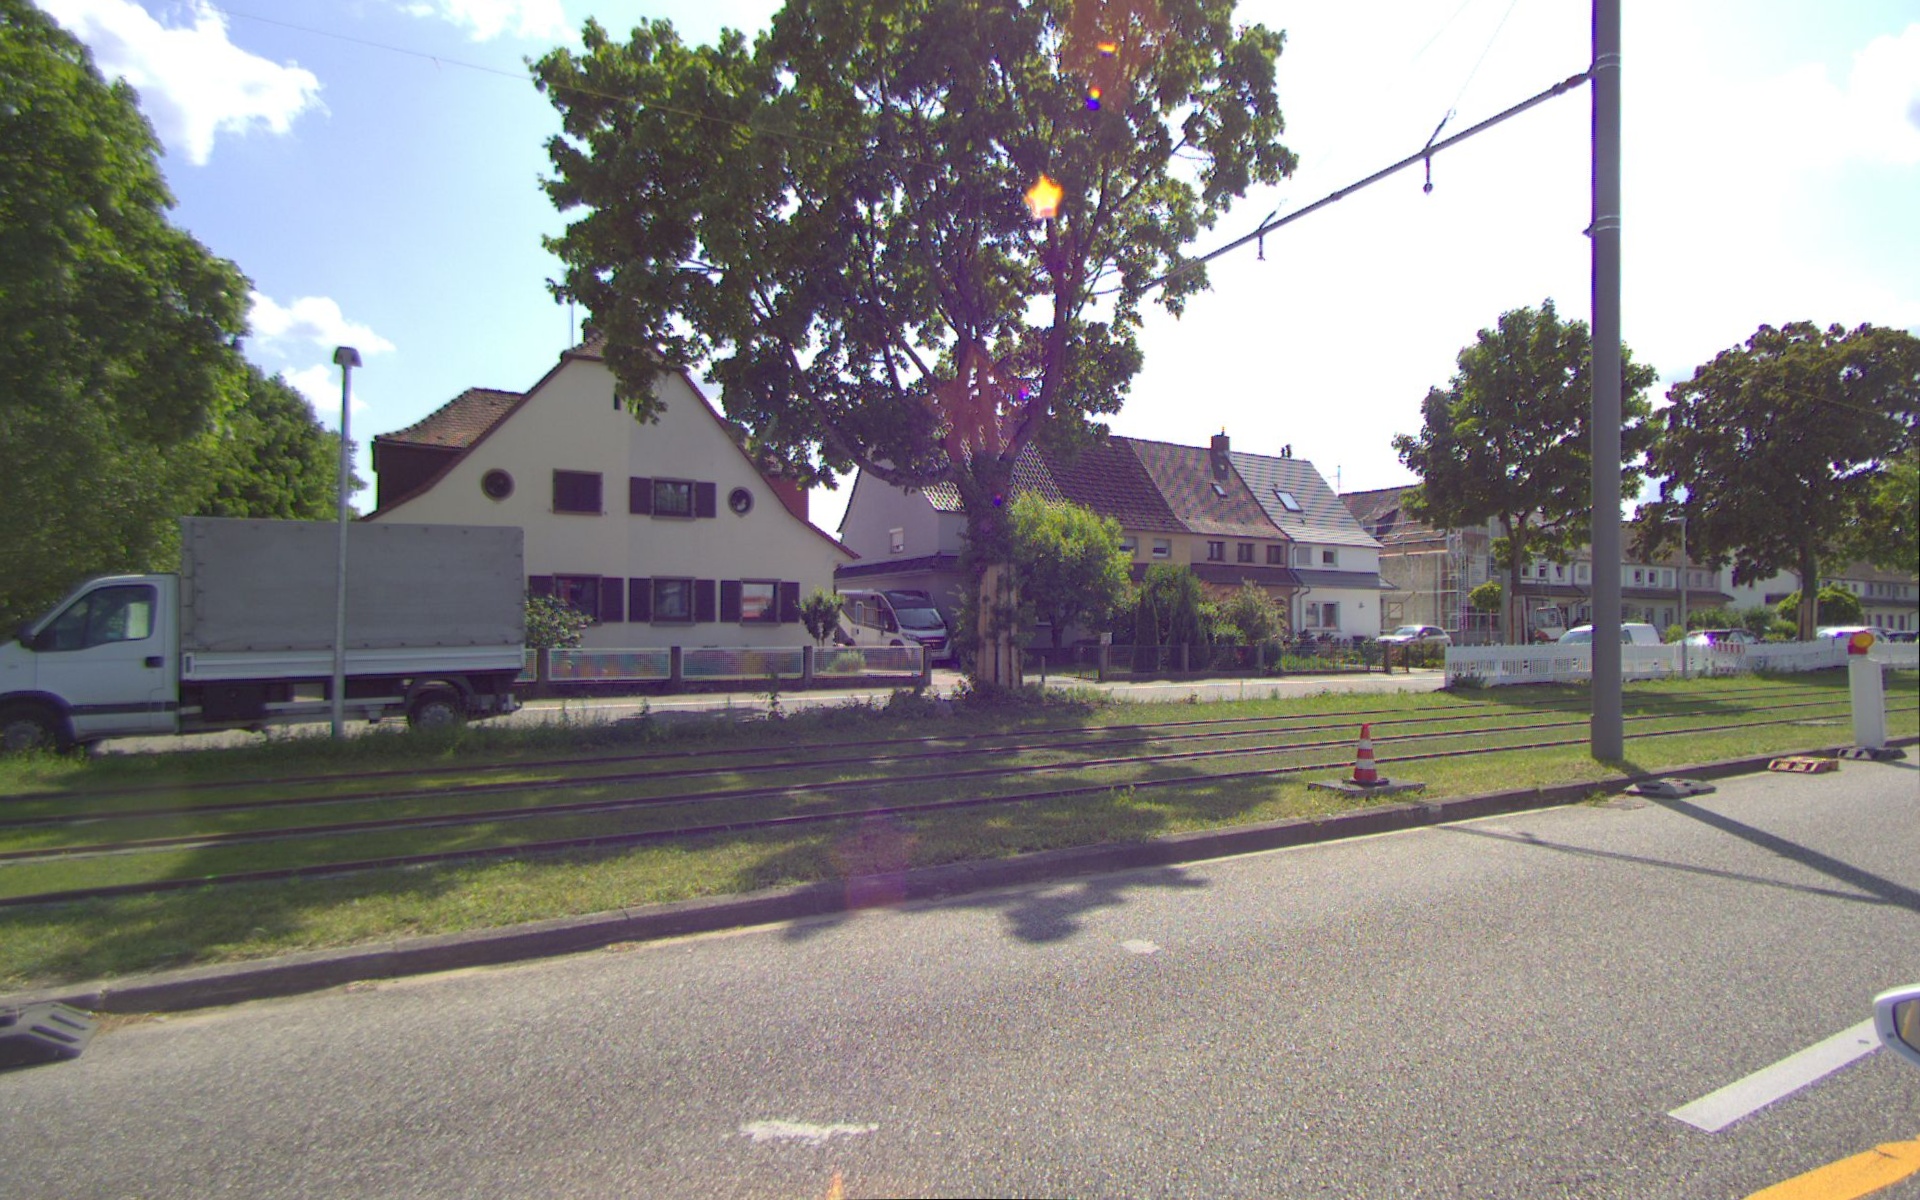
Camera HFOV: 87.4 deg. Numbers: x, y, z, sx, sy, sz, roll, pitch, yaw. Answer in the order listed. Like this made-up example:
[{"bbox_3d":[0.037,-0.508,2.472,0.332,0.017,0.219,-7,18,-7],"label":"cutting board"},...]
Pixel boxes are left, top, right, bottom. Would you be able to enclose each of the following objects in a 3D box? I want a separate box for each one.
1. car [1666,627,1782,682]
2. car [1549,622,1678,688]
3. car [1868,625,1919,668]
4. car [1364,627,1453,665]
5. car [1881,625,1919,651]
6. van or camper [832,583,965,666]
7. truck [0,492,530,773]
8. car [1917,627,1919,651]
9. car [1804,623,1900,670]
[{"bbox_3d":[25.742,1.800,33.824,4.006,1.762,1.691,1,-2,-30],"label":"car"},{"bbox_3d":[19.497,1.605,29.957,3.814,1.841,1.691,1,-2,-30],"label":"car"},{"bbox_3d":[40.385,1.960,42.597,3.814,1.762,1.691,1,-2,-30],"label":"car"},{"bbox_3d":[19.885,1.993,44.477,3.814,1.614,1.691,1,-2,-30],"label":"car"},{"bbox_3d":[66.750,2.680,70.727,4.013,1.762,1.691,1,-2,-30],"label":"car"},{"bbox_3d":[-2.354,0.908,36.649,2.224,2.745,5.963,1,-2,-33],"label":"van or camper"},{"bbox_3d":[-8.796,0.414,12.921,5.805,3.027,1.994,1,-2,-30],"label":"truck"},{"bbox_3d":[71.951,2.841,73.556,4.013,1.762,1.691,1,-2,-30],"label":"car"},{"bbox_3d":[34.977,1.801,39.382,3.814,1.762,1.691,1,-2,-30],"label":"car"}]
